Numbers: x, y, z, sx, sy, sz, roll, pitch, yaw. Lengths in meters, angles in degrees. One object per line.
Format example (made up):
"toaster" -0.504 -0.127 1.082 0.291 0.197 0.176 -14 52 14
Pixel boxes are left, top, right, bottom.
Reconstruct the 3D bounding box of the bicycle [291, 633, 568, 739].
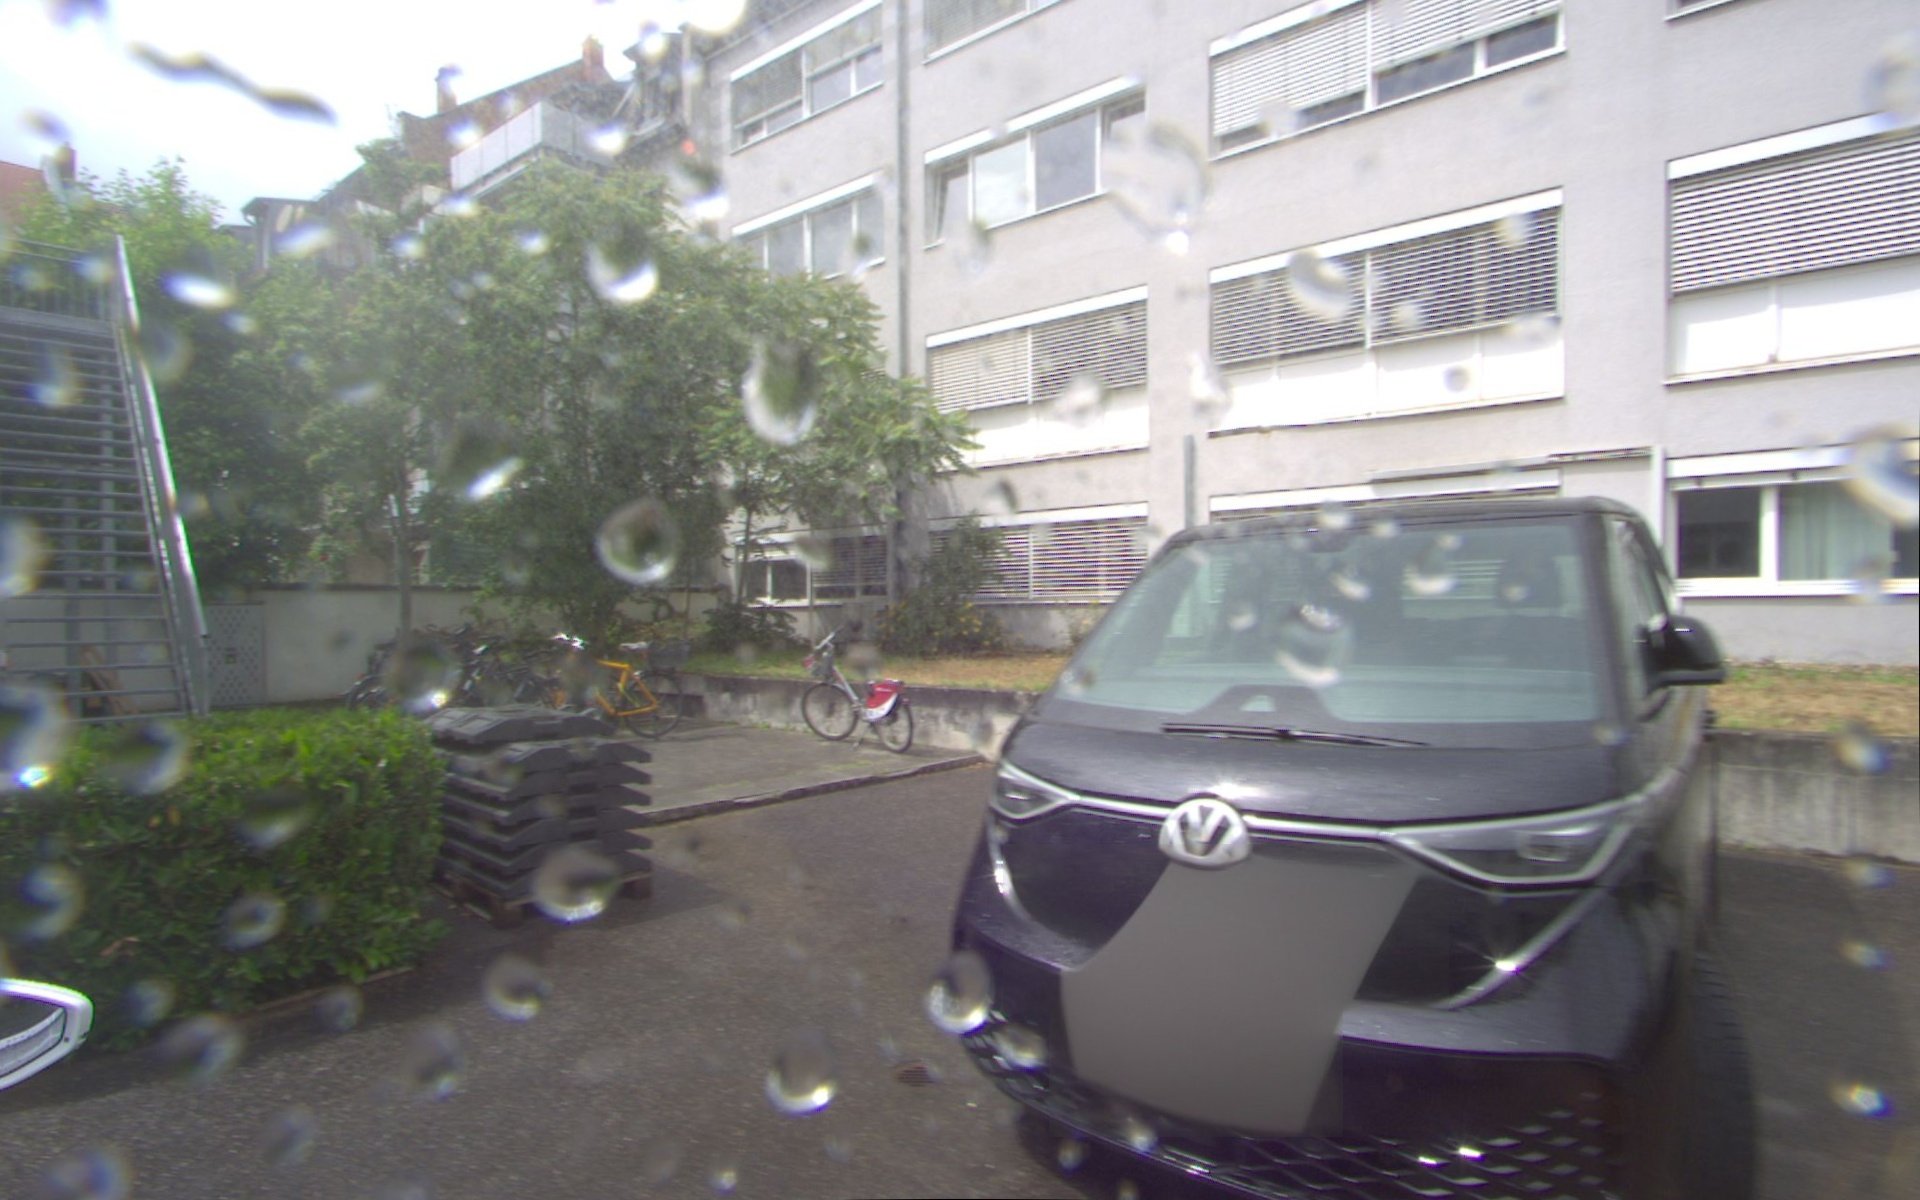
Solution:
"bicycle" -6.167 0.961 11.850 0.681 1.092 2.830 1 -1 42

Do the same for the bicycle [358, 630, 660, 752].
"bicycle" -4.578 0.885 10.442 0.681 1.092 2.830 1 -1 42

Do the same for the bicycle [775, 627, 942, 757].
"bicycle" -1.026 0.860 9.896 1.701 1.174 0.611 -1 0 38

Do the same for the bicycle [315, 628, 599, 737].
"bicycle" -5.616 0.883 11.414 0.681 1.092 2.830 1 -1 42

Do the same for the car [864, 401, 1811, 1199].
"car" 1.984 0.590 4.111 2.084 1.858 4.690 0 1 38

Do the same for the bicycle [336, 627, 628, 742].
"bicycle" -5.097 0.866 10.934 0.681 1.092 2.830 1 -1 42

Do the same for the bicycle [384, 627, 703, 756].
"bicycle" -3.997 0.836 9.934 0.681 1.092 2.909 1 -1 42
